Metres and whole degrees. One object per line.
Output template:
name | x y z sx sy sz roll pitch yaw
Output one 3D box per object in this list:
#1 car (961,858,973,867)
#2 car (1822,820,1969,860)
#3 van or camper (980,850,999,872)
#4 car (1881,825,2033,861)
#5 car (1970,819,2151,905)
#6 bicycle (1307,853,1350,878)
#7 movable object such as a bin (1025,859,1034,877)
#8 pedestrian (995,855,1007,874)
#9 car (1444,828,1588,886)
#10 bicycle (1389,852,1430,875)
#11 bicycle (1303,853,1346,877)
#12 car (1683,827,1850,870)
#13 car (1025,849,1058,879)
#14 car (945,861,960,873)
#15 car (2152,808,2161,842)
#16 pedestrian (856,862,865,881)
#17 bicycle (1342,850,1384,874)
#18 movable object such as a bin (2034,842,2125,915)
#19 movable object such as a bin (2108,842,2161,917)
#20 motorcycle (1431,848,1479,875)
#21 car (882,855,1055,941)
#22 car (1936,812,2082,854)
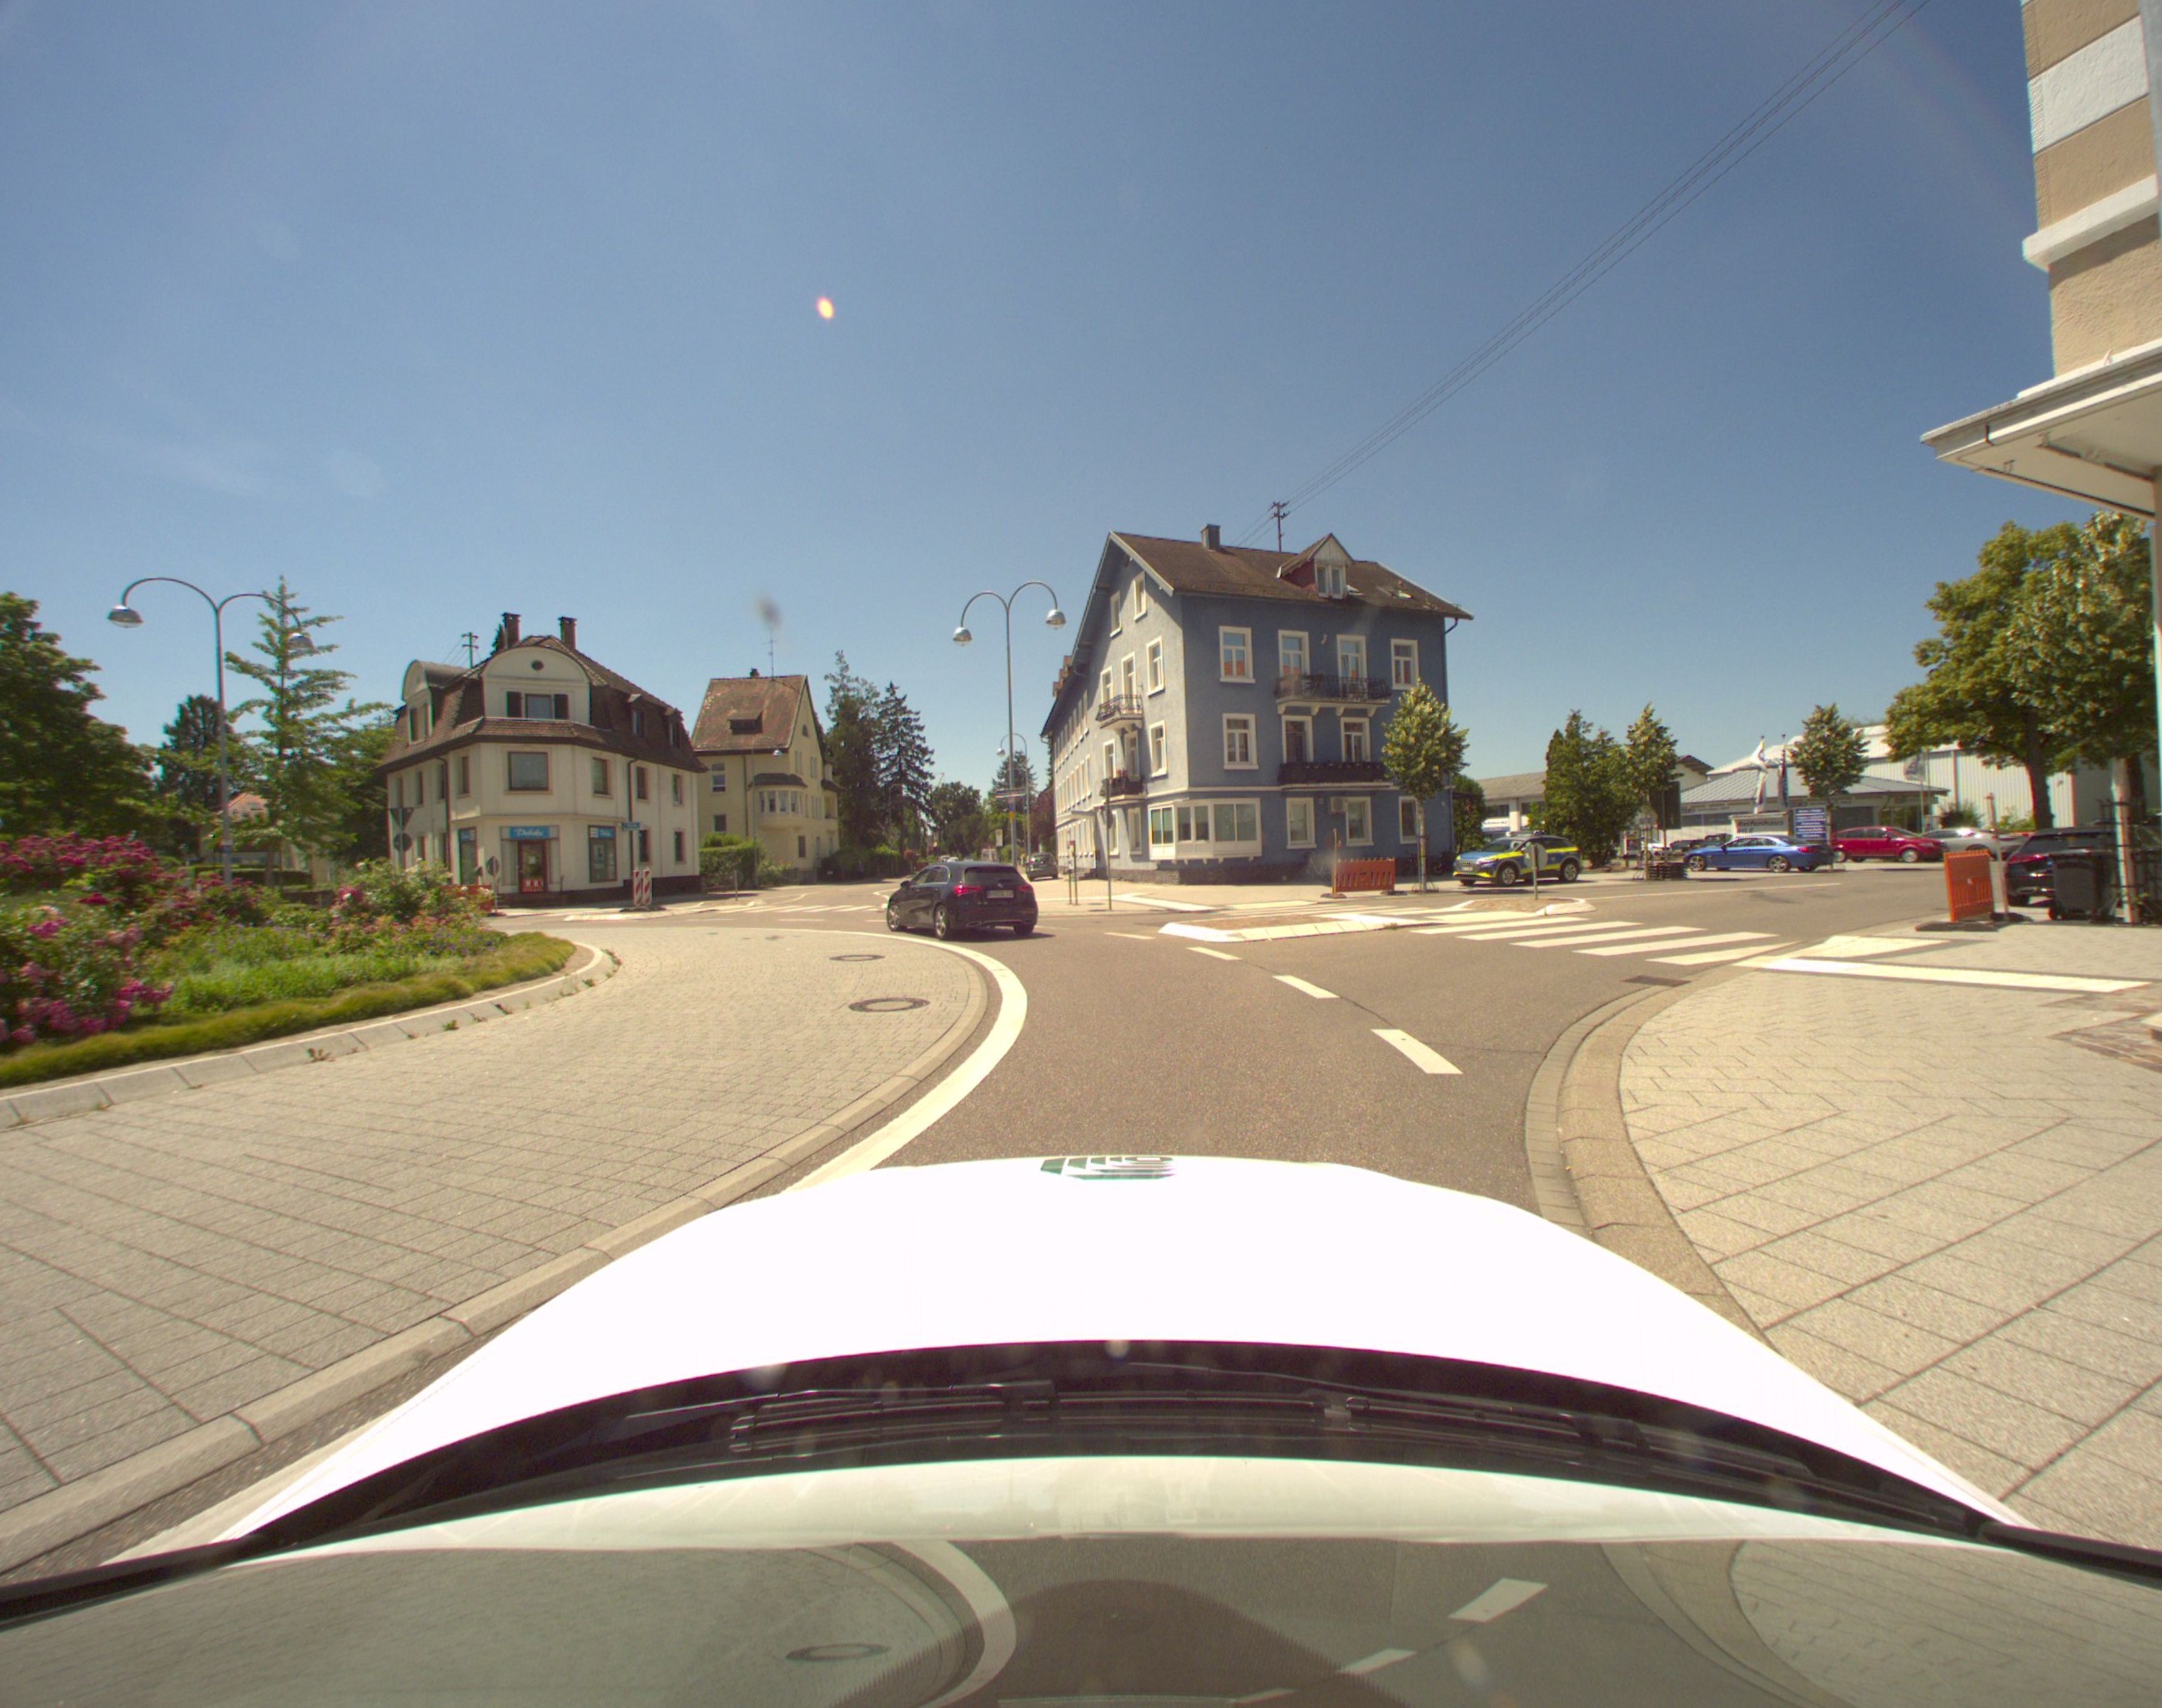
car | -22.034 1.612 157.405 1.991 1.717 3.992 -2 0 -6
car | 34.652 -0.557 34.772 2.000 1.530 3.973 -2 0 -20
van or camper | -11.421 0.834 101.742 2.204 2.610 3.990 -2 0 -7
car | 37.508 -0.442 34.989 2.000 1.447 3.973 -2 0 -20
car | 18.740 0.132 15.542 4.190 1.436 1.885 -2 -2 -36
bicycle | 9.875 0.445 32.483 1.712 0.906 0.437 -2 2 -19
movable object such as a bin | -3.227 0.870 51.162 0.281 1.123 1.187 -4 -1 6
pedestrian | -5.613 0.713 57.028 0.664 1.286 0.587 -5 0 2
car | 14.566 0.066 27.274 4.249 1.743 1.894 -2 1 -20
bicycle | 13.880 0.384 34.389 1.712 0.906 0.478 -2 2 -19
bicycle | 9.856 0.439 32.954 1.712 0.906 0.437 -2 2 -19
car | 25.577 -0.158 30.602 1.908 1.480 4.435 1 -1 -23
car | -2.303 0.556 46.728 1.637 1.507 3.557 -5 1 -5
car | -18.745 1.877 118.913 1.991 1.651 3.991 -2 0 -7
car | 61.433 -1.689 43.943 2.001 1.859 3.973 -4 1 -20
pedestrian | -18.227 1.451 67.247 0.521 1.509 0.473 -2 0 0
bicycle | 11.580 0.334 33.460 1.712 0.906 0.478 -2 2 -19
movable object such as a bin | 15.258 0.378 12.454 0.705 1.055 0.665 -2 -2 -24
movable object such as a bin | 15.554 0.364 11.811 0.705 1.055 0.637 -2 -1 -24
motorcycle | 15.504 0.288 33.786 1.904 1.051 0.584 -2 2 -17
car | -2.340 0.787 15.993 1.966 1.427 3.960 -1 -1 -31
car | 42.719 -0.956 37.618 1.998 1.782 3.978 -2 1 -16
